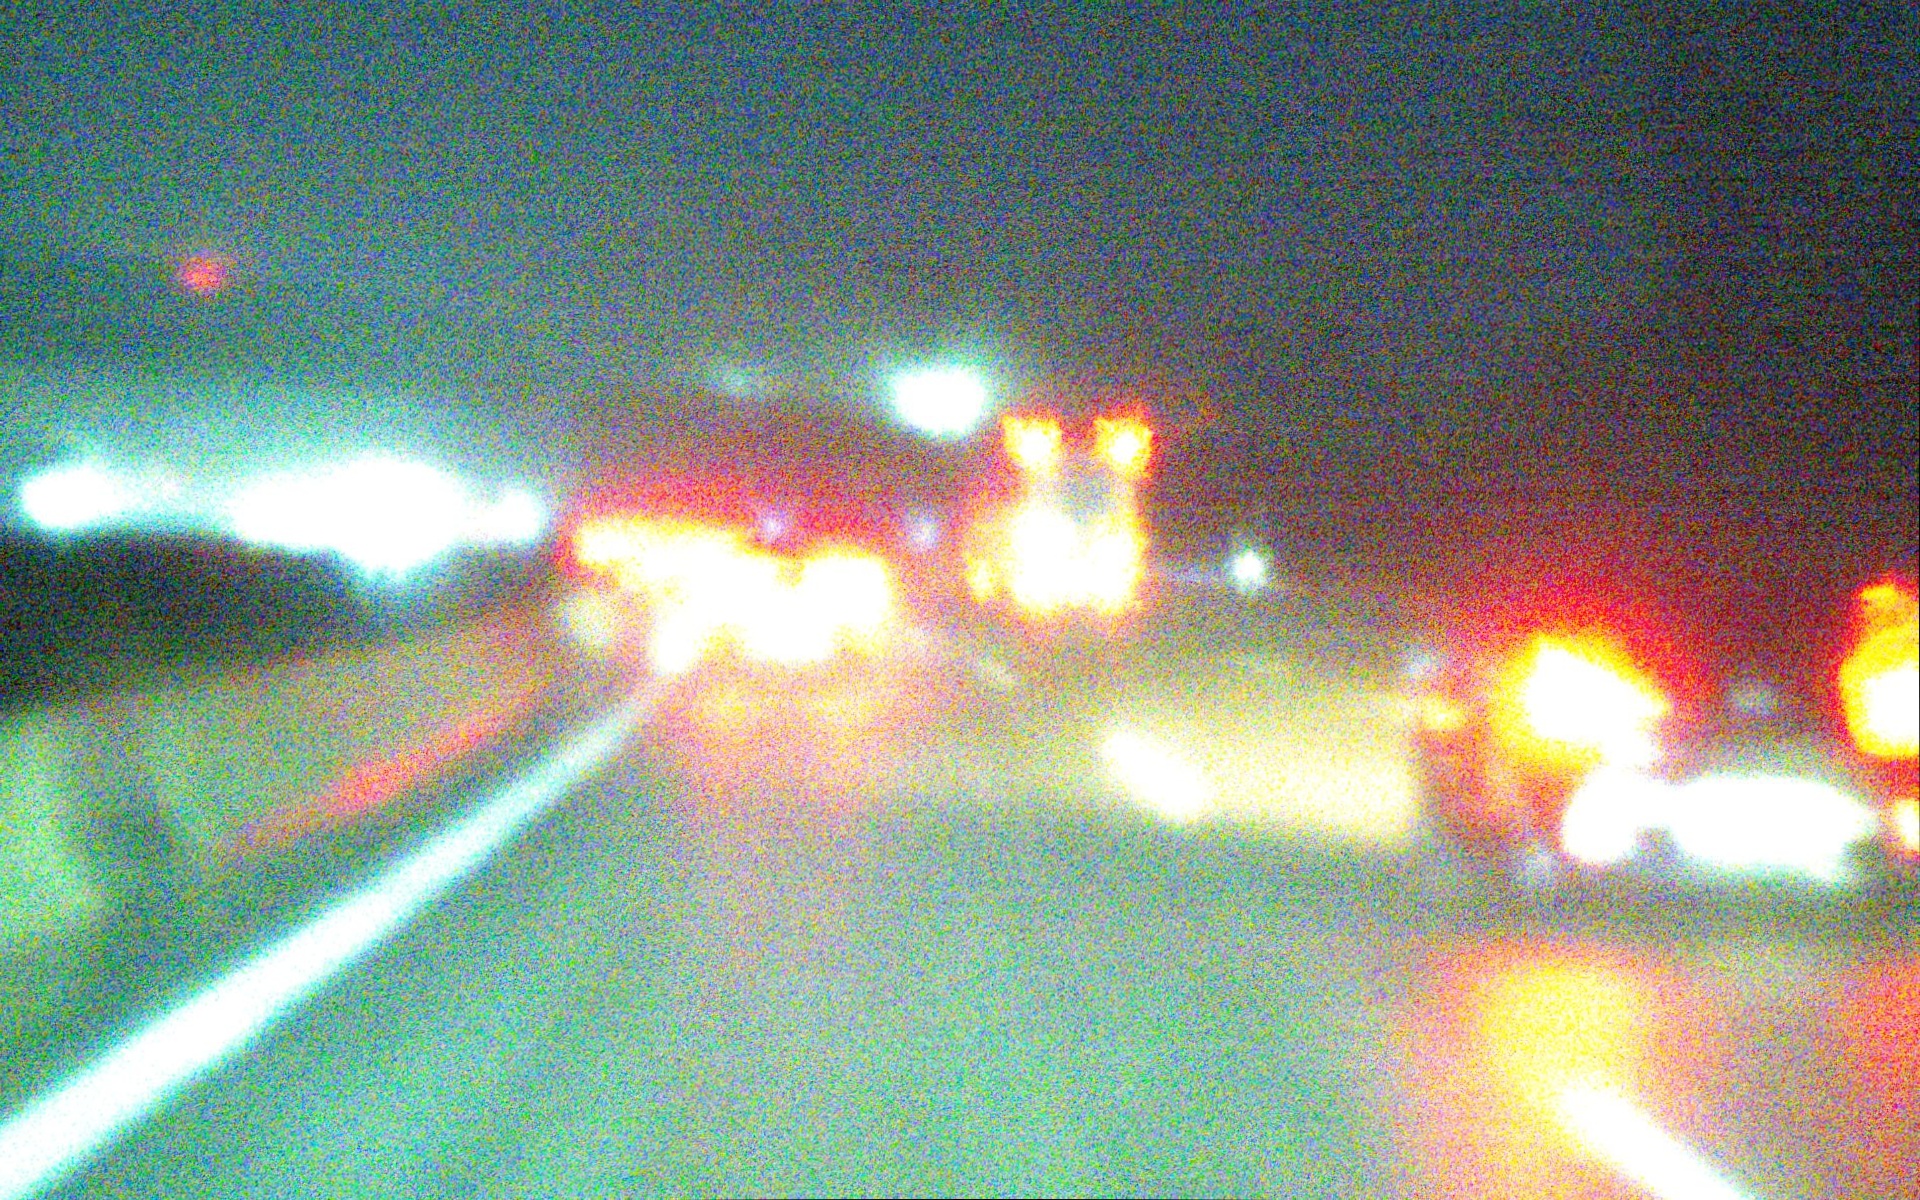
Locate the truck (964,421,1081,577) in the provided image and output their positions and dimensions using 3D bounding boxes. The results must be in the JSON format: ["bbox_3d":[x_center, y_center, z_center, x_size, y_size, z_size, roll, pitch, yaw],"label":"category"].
[{"bbox_3d":[1.712,-2.857,96.595,2.710,4.226,5.294,1,2,-4],"label":"truck"}]

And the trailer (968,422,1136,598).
[{"bbox_3d":[2.261,-2.513,90.315,2.738,4.233,13.376,-1,3,-5],"label":"trailer"}]

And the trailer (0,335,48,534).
[{"bbox_3d":[-19.386,-3.153,63.296,2.927,3.735,9.503,5,2,-4],"label":"trailer"}]

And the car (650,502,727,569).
[{"bbox_3d":[-8.420,-1.973,106.250,1.993,2.007,4.001,-1,0,-10],"label":"car"}]

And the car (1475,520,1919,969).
[{"bbox_3d":[3.147,0.480,14.794,1.801,1.612,4.255,1,2,9],"label":"car"}]

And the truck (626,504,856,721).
[{"bbox_3d":[-2.437,0.043,39.986,2.145,2.070,6.604,5,2,-1],"label":"truck"}]
